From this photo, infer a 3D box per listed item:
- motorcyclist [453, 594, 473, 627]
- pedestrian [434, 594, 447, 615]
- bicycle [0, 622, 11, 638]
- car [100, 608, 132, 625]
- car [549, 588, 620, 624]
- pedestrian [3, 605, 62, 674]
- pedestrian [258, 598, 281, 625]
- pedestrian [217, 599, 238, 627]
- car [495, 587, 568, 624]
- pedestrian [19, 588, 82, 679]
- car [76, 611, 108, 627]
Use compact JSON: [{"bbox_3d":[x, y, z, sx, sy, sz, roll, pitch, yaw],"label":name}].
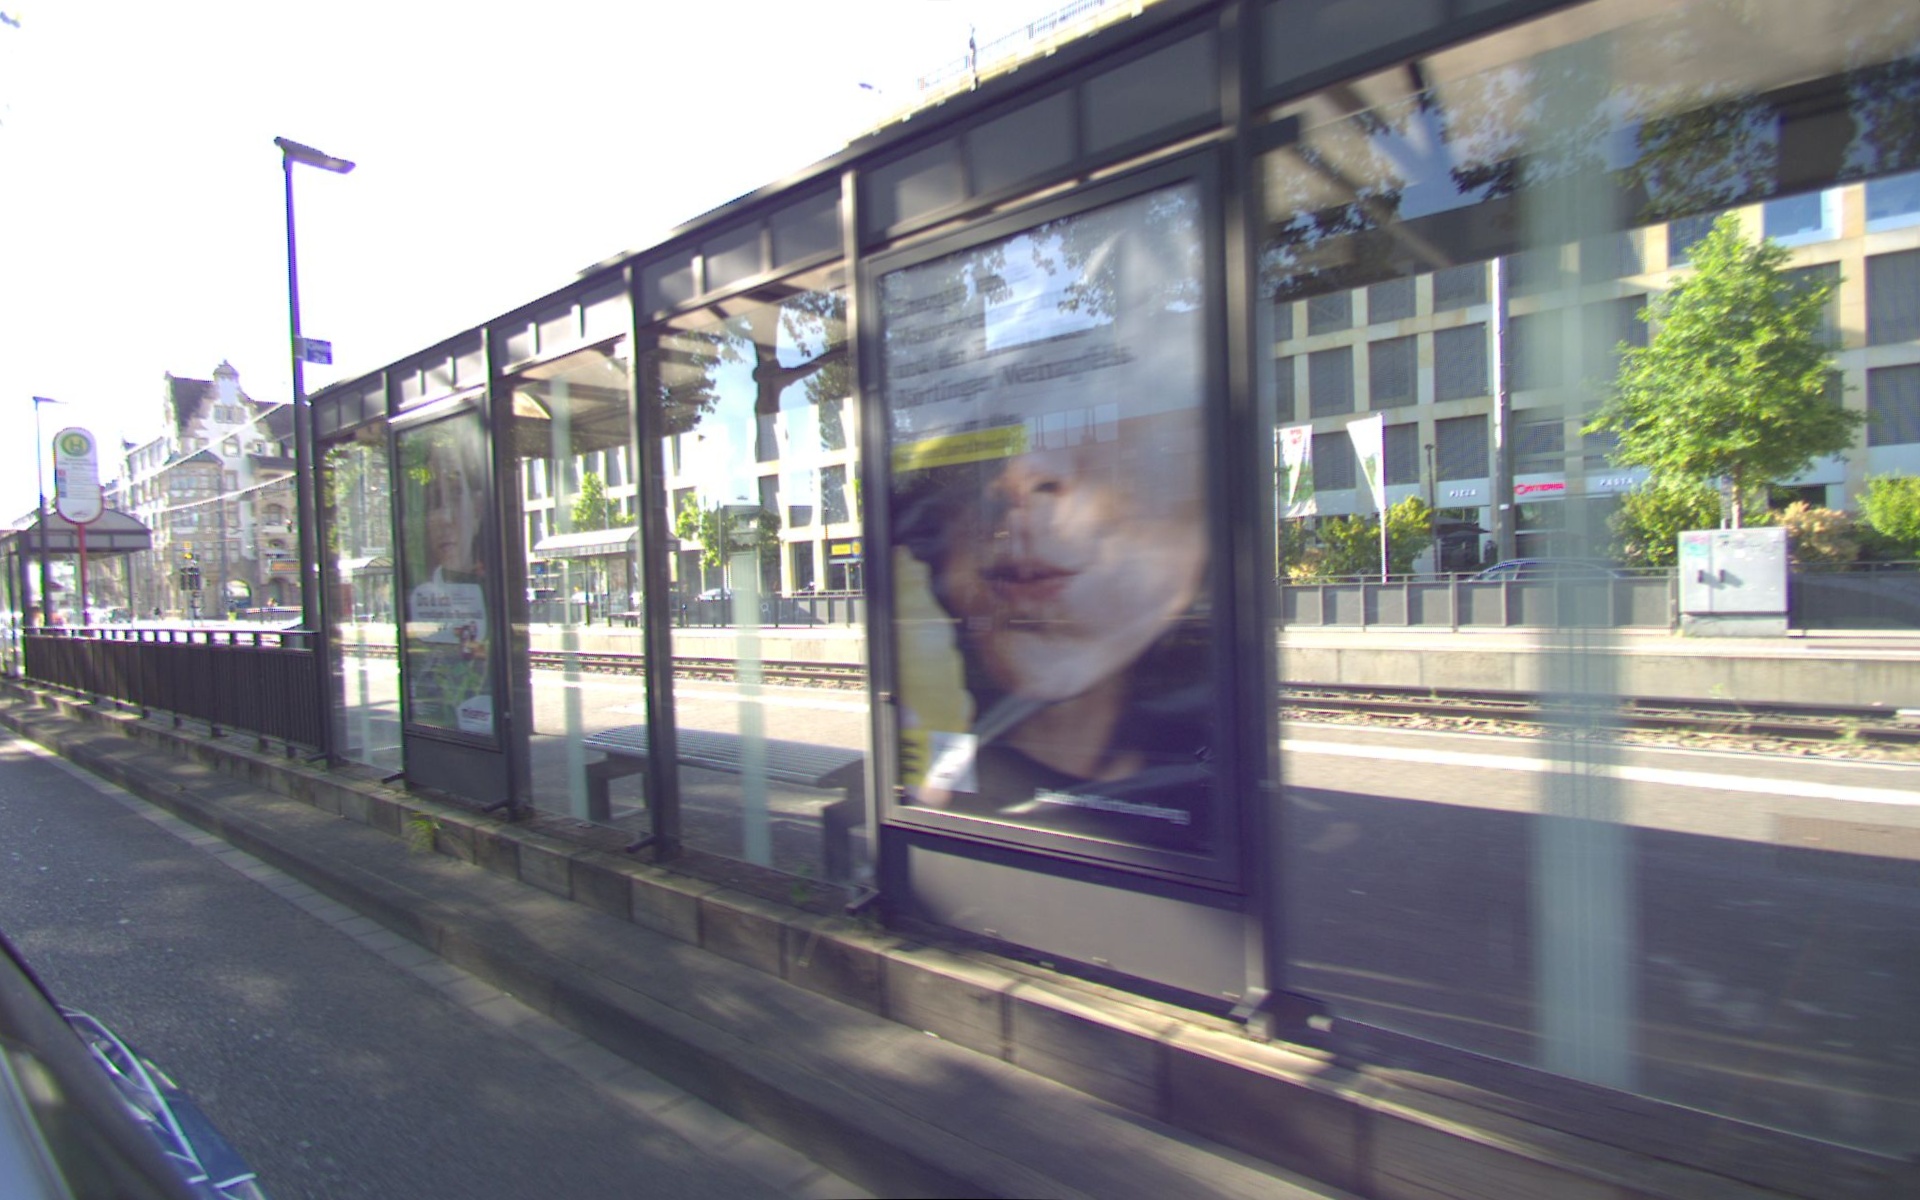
[{"bbox_3d":[-23.759,0.489,48.417,0.764,1.545,0.569,-1,1,42],"label":"motorcyclist"},{"bbox_3d":[-41.293,0.355,80.452,0.638,1.694,0.609,-1,1,37],"label":"pedestrian"},{"bbox_3d":[-54.934,1.749,57.200,1.861,0.884,0.608,-3,1,-41],"label":"bicycle"},{"bbox_3d":[-87.418,1.735,104.851,3.996,1.682,1.759,-1,1,39],"label":"car"},{"bbox_3d":[-18.000,0.296,48.449,3.649,1.573,1.627,-1,1,42],"label":"car"},{"bbox_3d":[-17.936,0.756,19.574,0.524,1.283,0.734,-1,1,40],"label":"pedestrian"},{"bbox_3d":[-45.223,0.750,66.304,0.792,1.656,0.924,-2,1,28],"label":"pedestrian"},{"bbox_3d":[-44.684,0.776,61.746,0.933,1.656,0.785,-1,1,42],"label":"pedestrian"},{"bbox_3d":[-22.196,0.284,52.313,3.999,1.782,1.898,-1,1,42],"label":"car"},{"bbox_3d":[-15.909,0.571,17.701,0.666,1.520,0.737,-1,1,43],"label":"pedestrian"},{"bbox_3d":[-95.756,2.123,111.611,3.992,1.536,1.722,-2,3,36],"label":"car"}]
